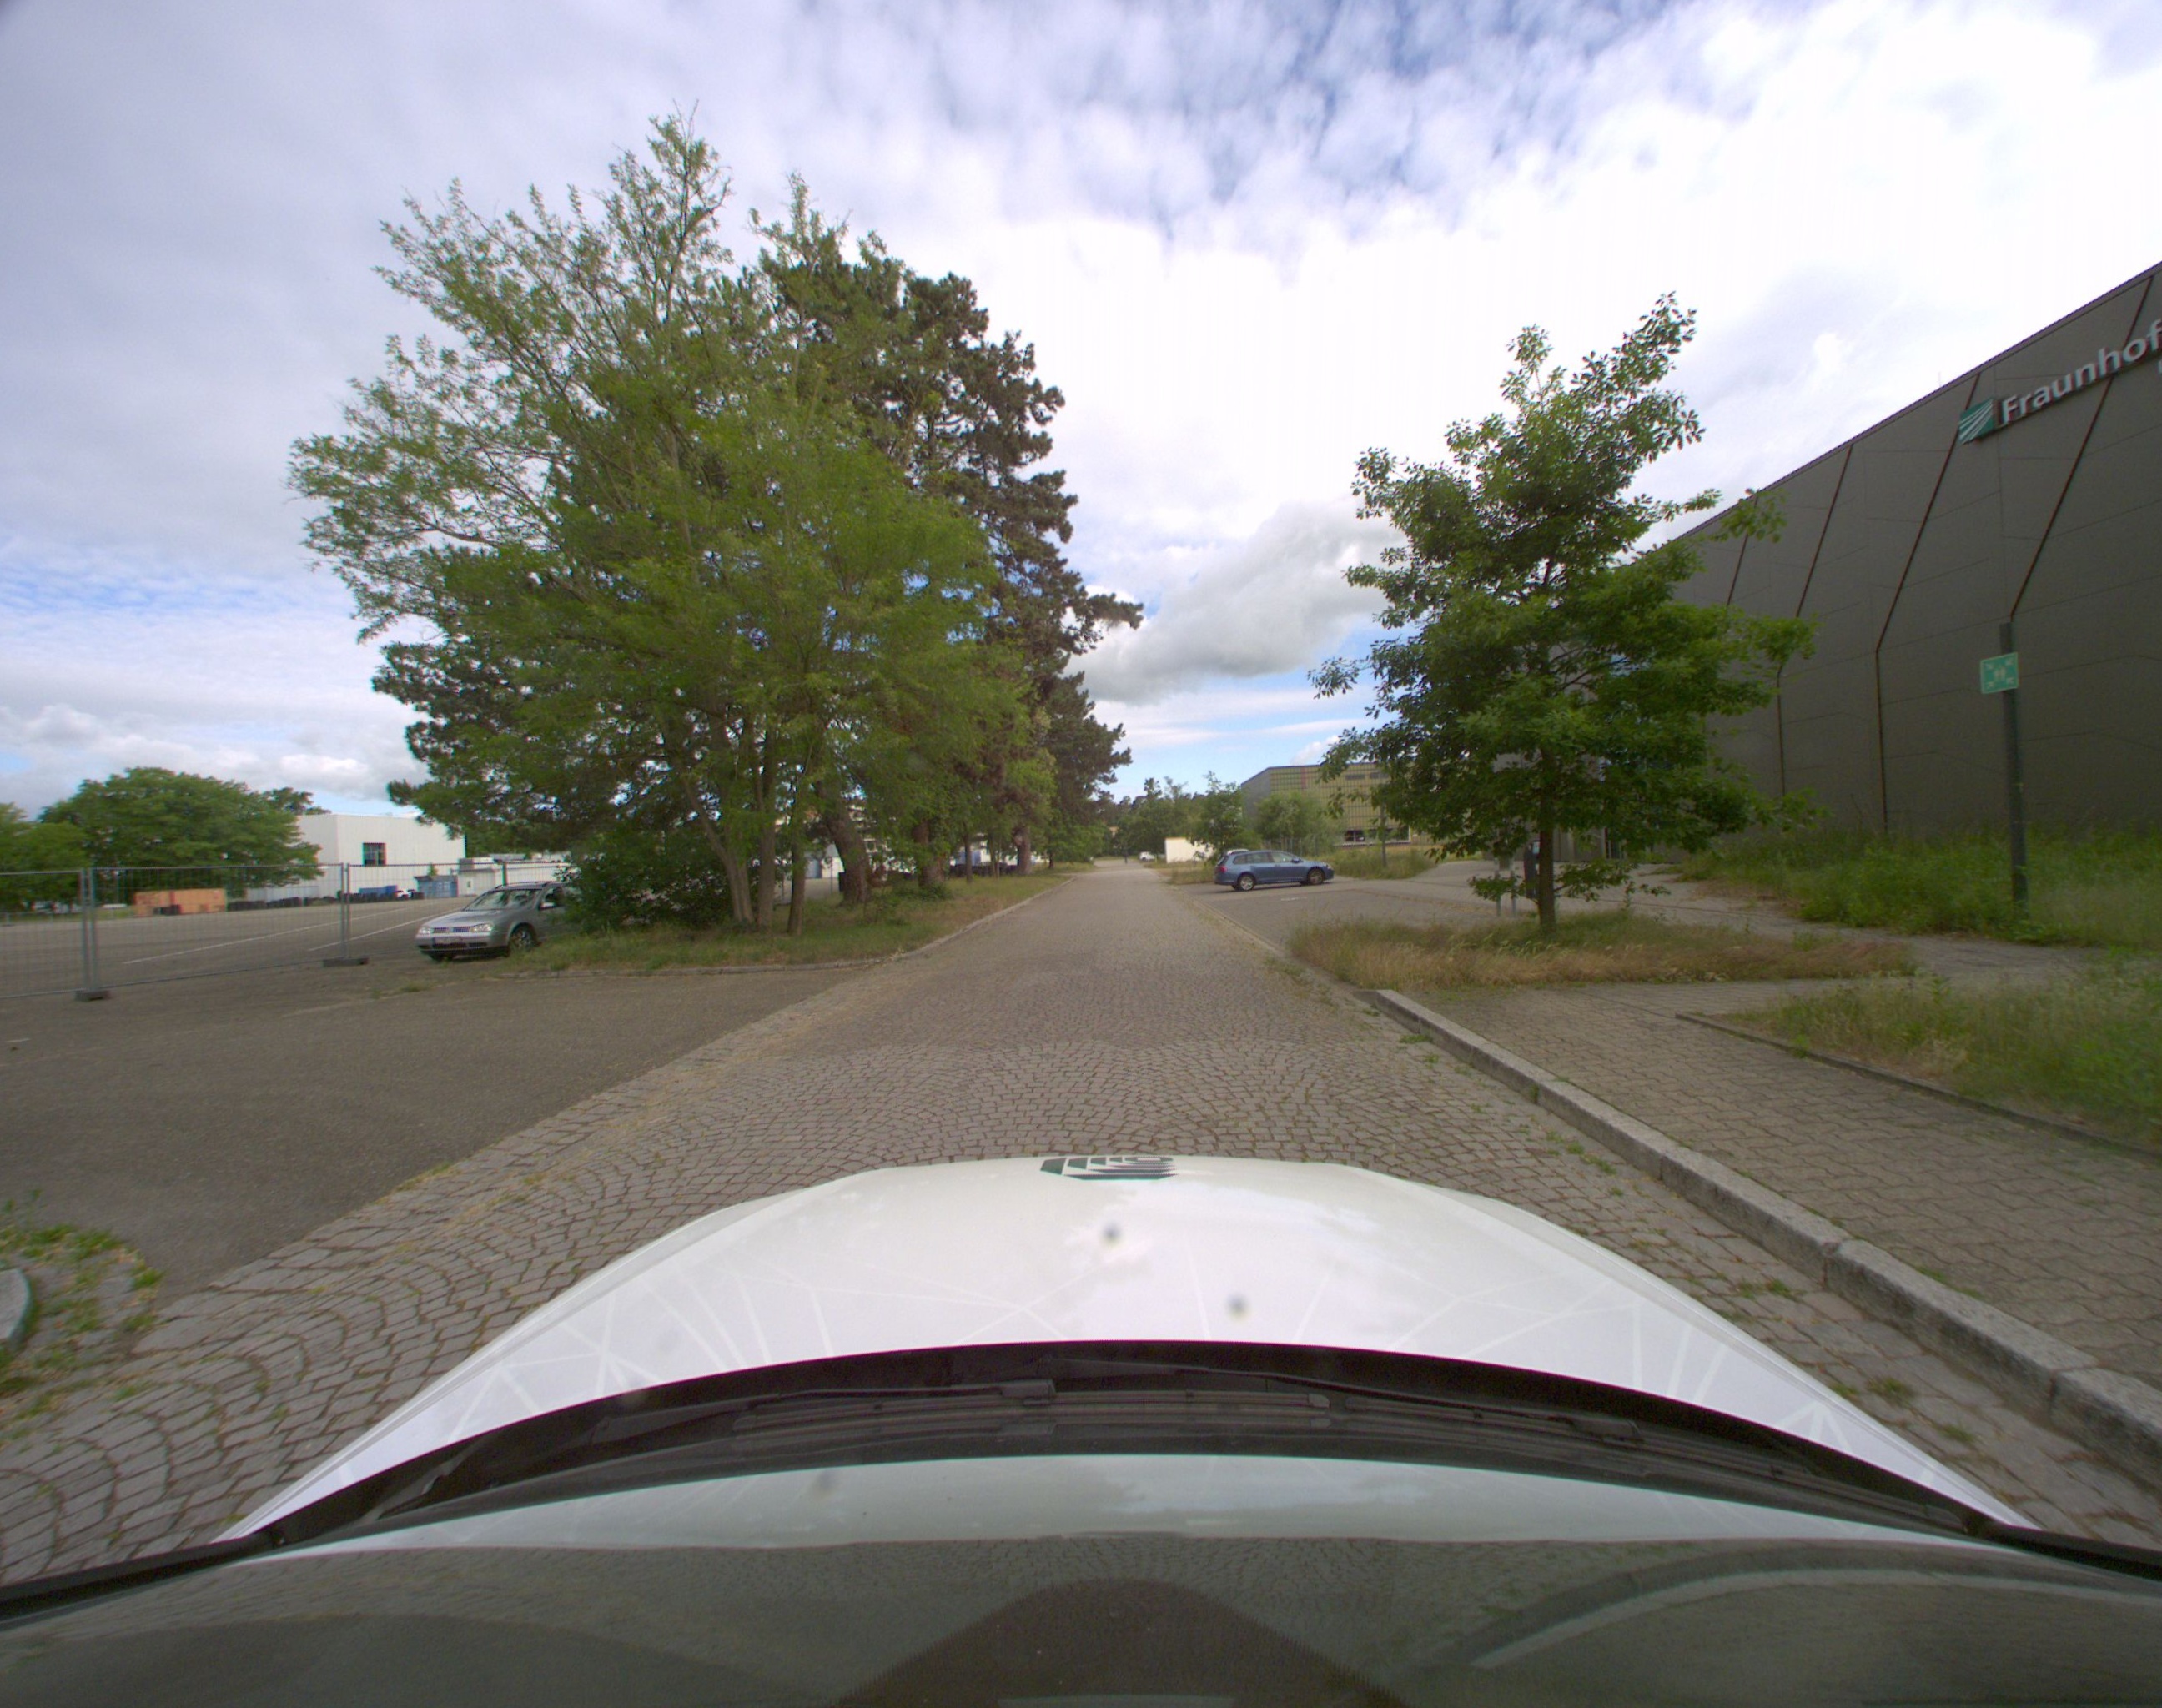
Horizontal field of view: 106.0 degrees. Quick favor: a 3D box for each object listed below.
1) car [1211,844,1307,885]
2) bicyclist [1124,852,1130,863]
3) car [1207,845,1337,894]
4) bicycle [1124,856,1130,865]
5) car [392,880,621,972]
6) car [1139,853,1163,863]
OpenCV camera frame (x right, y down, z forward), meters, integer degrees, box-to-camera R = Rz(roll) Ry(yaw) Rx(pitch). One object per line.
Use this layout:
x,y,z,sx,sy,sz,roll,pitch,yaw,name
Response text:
8.396,0.479,38.724,4.094,1.572,1.765,-5,0,0,car
6.940,0.561,122.371,0.894,1.542,0.868,-3,1,1,bicyclist
7.279,0.583,31.303,4.466,1.462,1.934,-5,0,0,car
6.954,0.985,122.358,0.820,1.376,2.043,-3,1,2,bicycle
-11.874,1.415,17.249,1.723,1.432,4.164,-3,1,2,car
13.000,0.775,151.072,4.303,1.549,2.002,-3,0,4,car
